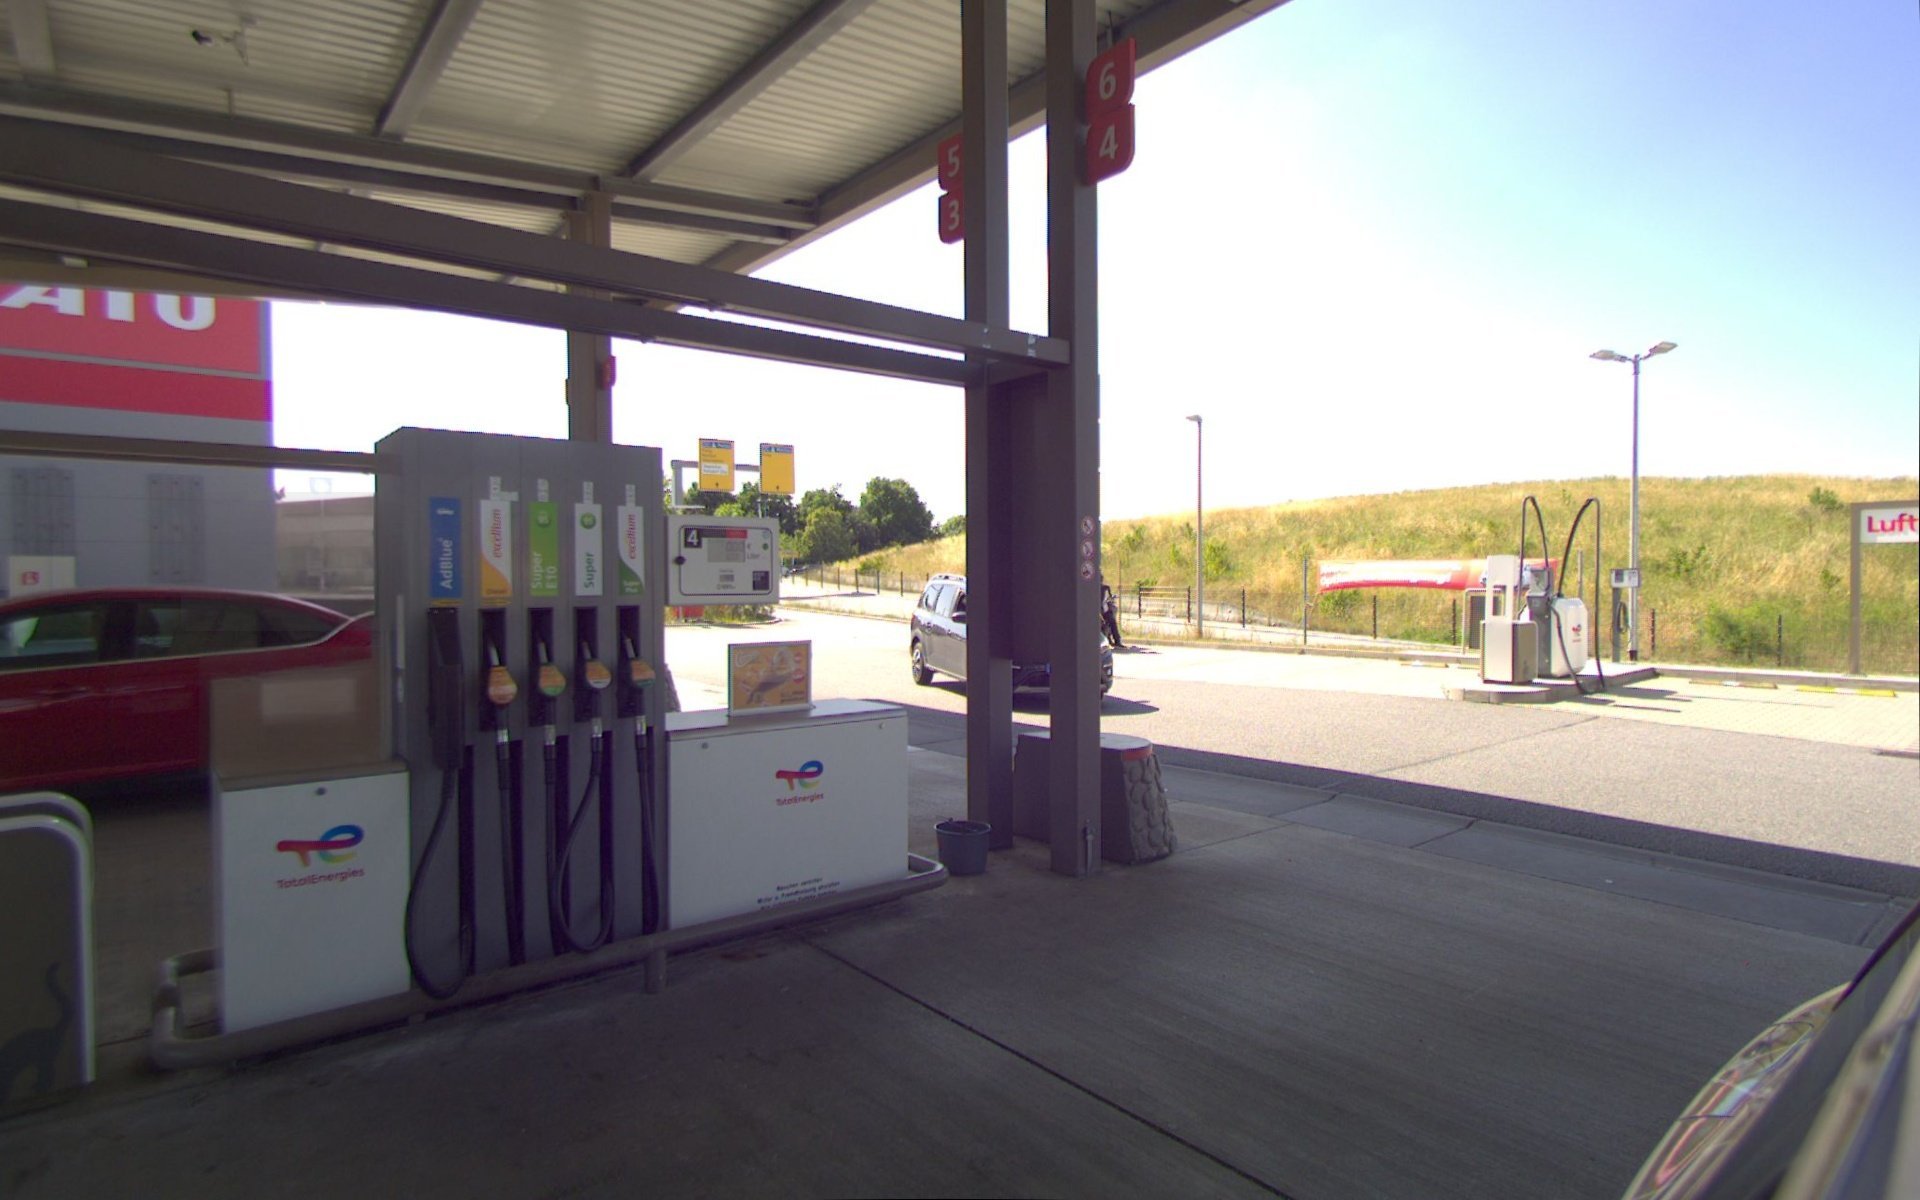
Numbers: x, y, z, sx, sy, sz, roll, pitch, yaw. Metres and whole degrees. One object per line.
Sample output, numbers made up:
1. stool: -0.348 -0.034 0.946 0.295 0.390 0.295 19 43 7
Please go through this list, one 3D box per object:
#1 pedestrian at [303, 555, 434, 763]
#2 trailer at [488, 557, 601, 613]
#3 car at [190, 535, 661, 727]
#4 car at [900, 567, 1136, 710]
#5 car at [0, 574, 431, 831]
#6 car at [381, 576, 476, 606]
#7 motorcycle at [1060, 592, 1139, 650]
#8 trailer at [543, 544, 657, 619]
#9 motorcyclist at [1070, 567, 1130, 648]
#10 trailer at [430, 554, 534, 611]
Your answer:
1. pedestrian: -5.220 0.476 8.934 0.911 1.724 0.703 0 1 -39
2. trailer: -16.157 -0.594 39.555 1.784 2.039 3.965 1 1 26
3. car: -6.283 0.297 12.215 4.712 1.874 2.032 1 1 -40
4. car: 0.588 0.407 14.281 1.707 1.665 4.642 0 1 -19
5. car: -5.955 0.576 6.641 4.158 1.487 1.702 -1 1 -40
6. car: -24.196 -0.436 46.214 1.659 1.334 3.816 1 1 17
7. motorcycle: 3.072 0.414 22.073 1.035 1.119 2.395 1 2 26
8. trailer: -12.465 -0.671 35.309 1.970 2.457 3.985 1 1 13
9. motorcyclist: 3.050 0.144 22.003 1.024 1.709 1.089 1 1 26
10. trailer: -21.389 -0.808 45.457 1.977 2.457 3.969 1 1 23
